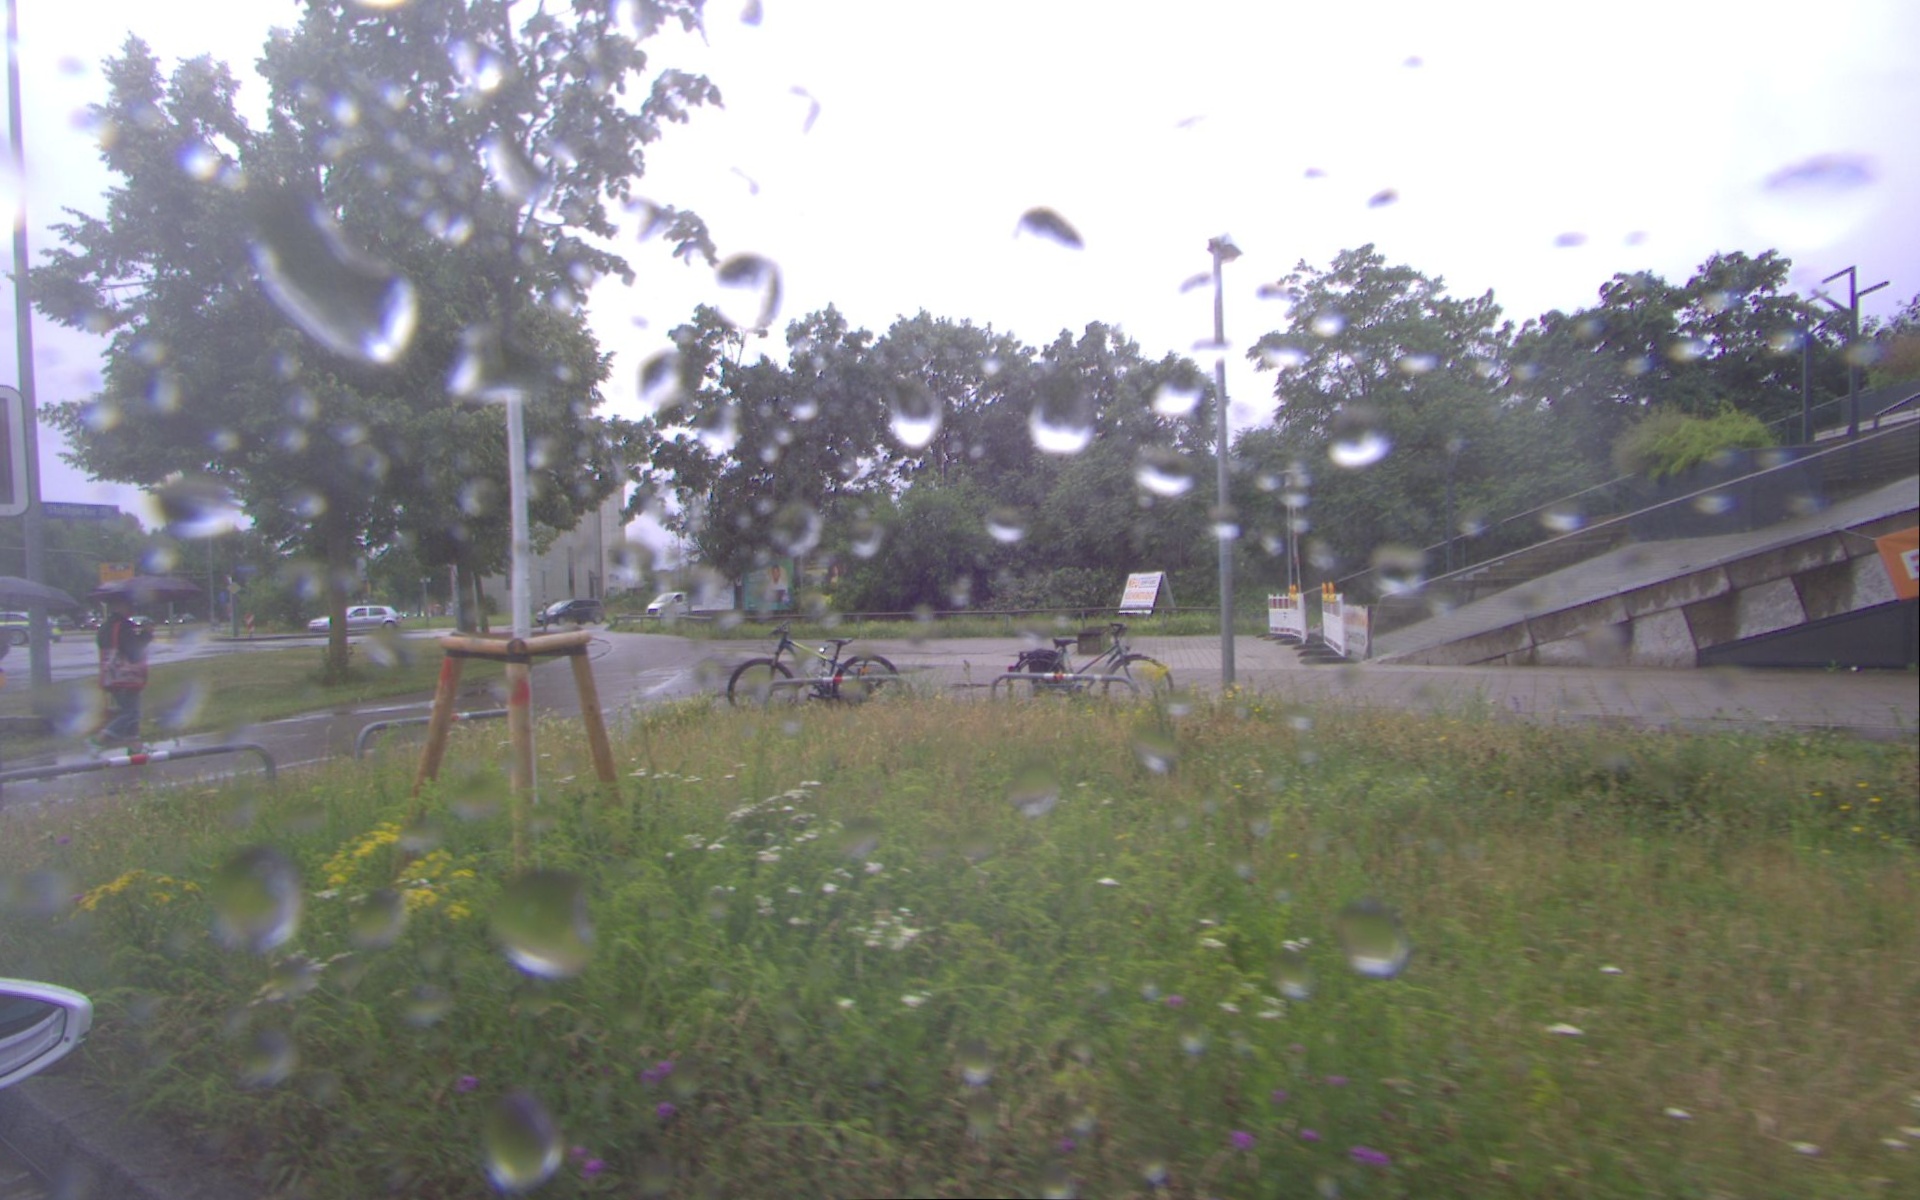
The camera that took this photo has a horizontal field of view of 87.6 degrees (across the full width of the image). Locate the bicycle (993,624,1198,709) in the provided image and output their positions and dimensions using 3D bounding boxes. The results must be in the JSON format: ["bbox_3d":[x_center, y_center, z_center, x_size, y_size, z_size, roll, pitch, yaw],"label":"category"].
[{"bbox_3d":[1.339,0.653,9.927,1.972,0.797,0.454,-1,-2,16],"label":"bicycle"}]

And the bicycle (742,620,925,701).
[{"bbox_3d":[-1.278,0.616,10.242,1.823,0.797,0.380,0,-2,-2],"label":"bicycle"}]

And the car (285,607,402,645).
[{"bbox_3d":[-31.485,1.362,51.240,1.976,1.874,4.743,-2,-3,38],"label":"car"}]

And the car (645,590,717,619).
[{"bbox_3d":[-19.661,0.383,70.736,1.976,1.874,4.743,-2,-3,38],"label":"car"}]

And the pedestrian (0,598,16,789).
[{"bbox_3d":[-8.181,0.755,8.093,0.730,1.542,0.620,0,-1,31],"label":"pedestrian"}]

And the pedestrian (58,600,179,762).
[{"bbox_3d":[-8.116,0.760,9.672,0.564,1.480,0.679,-1,1,28],"label":"pedestrian"}]

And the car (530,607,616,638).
[{"bbox_3d":[-24.204,1.435,62.779,1.977,1.874,4.740,-2,-3,40],"label":"car"}]

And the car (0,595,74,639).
[{"bbox_3d":[-41.615,0.734,43.144,4.700,1.876,1.992,-1,0,-25],"label":"car"}]
